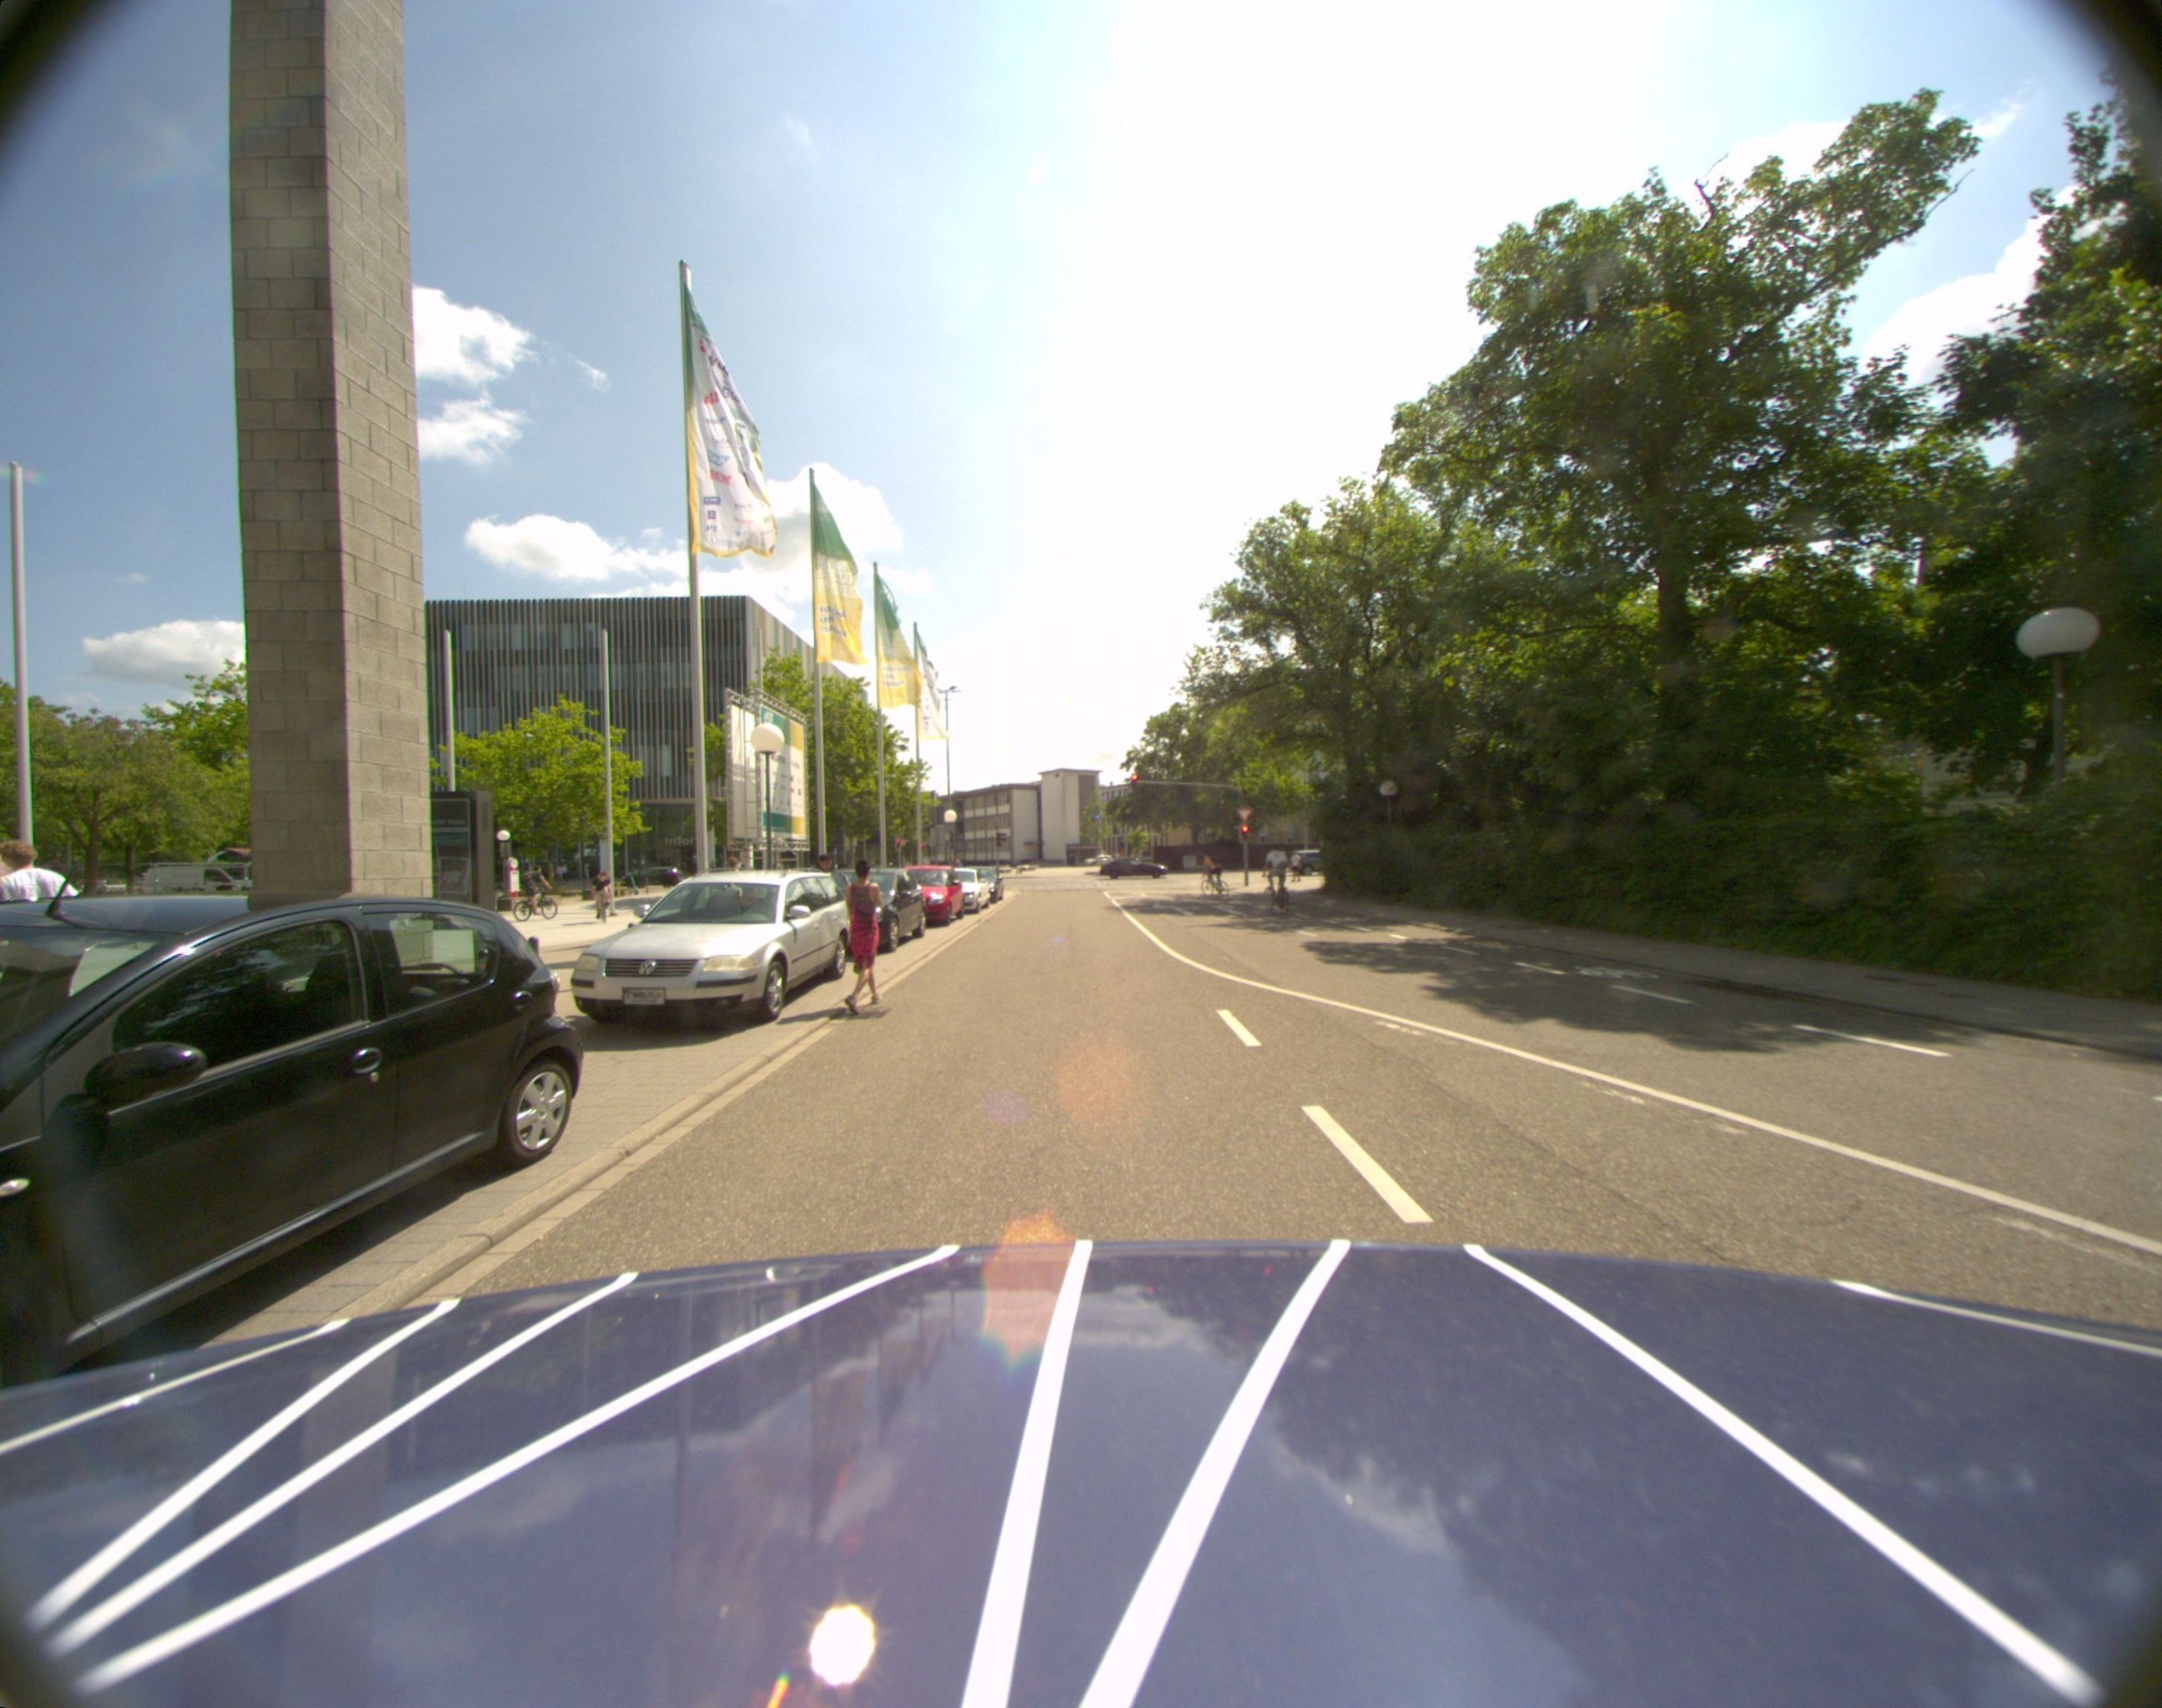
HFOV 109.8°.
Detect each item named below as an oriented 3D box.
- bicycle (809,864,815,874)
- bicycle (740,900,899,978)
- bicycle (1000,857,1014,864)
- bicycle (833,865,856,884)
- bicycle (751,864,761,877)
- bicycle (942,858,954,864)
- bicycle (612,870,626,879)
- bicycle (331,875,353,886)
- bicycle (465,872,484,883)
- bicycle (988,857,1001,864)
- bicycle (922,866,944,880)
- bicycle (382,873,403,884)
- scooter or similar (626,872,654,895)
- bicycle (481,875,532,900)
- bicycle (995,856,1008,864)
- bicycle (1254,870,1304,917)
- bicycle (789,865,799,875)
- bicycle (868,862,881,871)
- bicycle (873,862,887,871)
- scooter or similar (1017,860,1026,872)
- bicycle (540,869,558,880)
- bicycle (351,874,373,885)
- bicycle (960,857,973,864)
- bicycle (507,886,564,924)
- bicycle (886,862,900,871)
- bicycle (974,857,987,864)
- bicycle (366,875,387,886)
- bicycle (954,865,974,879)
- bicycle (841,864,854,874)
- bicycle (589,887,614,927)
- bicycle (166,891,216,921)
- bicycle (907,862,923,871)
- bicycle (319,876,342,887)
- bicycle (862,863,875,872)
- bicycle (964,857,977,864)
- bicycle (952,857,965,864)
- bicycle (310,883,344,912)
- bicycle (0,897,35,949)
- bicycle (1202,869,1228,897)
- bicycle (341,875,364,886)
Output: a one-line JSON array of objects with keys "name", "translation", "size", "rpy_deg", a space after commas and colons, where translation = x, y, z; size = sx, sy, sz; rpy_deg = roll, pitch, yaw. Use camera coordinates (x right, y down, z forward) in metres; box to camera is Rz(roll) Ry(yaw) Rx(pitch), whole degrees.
[{"name": "bicycle", "translation": [-28.021, 1.542, 79.188], "size": [0.529, 0.950, 1.770], "rpy_deg": [-2, 1, -21]}, {"name": "bicycle", "translation": [-4.037, 1.306, 11.893], "size": [2.153, 1.072, 0.904], "rpy_deg": [-1, 0, -1]}, {"name": "bicycle", "translation": [-10.037, 0.856, 102.978], "size": [1.776, 0.950, 0.528], "rpy_deg": [-1, 2, -27]}, {"name": "bicycle", "translation": [-13.915, 1.227, 44.691], "size": [0.817, 1.066, 1.891], "rpy_deg": [0, -3, -2]}, {"name": "bicycle", "translation": [-32.349, 1.636, 75.654], "size": [0.373, 1.180, 1.545], "rpy_deg": [0, 2, -2]}, {"name": "bicycle", "translation": [-20.529, 1.090, 117.521], "size": [1.776, 0.950, 0.527], "rpy_deg": [-1, 2, -29]}, {"name": "bicycle", "translation": [-46.429, 2.029, 76.291], "size": [0.373, 0.771, 1.546], "rpy_deg": [-1, 2, 3]}, {"name": "bicycle", "translation": [-73.184, 2.641, 75.233], "size": [0.433, 0.950, 1.784], "rpy_deg": [-1, 2, -1]}, {"name": "bicycle", "translation": [-60.164, 2.339, 75.381], "size": [0.373, 0.950, 1.547], "rpy_deg": [-1, 2, 14]}, {"name": "bicycle", "translation": [-12.053, 0.888, 105.960], "size": [1.776, 0.950, 0.527], "rpy_deg": [-1, 2, -29]}, {"name": "bicycle", "translation": [-12.895, 1.633, 66.262], "size": [1.673, 1.118, 0.693], "rpy_deg": [-2, 1, -29]}, {"name": "bicycle", "translation": [-68.314, 2.398, 75.354], "size": [0.433, 0.950, 1.784], "rpy_deg": [-1, 2, -1]}, {"name": "scooter or similar", "translation": [-22.589, 1.509, 38.900], "size": [1.192, 1.159, 0.353], "rpy_deg": [-1, 2, -1]}, {"name": "bicycle", "translation": [-28.725, 1.677, 37.989], "size": [2.028, 1.176, 0.800], "rpy_deg": [-1, 2, 10]}, {"name": "bicycle", "translation": [-10.892, 0.832, 104.099], "size": [1.776, 0.950, 0.527], "rpy_deg": [-1, 2, -29]}, {"name": "bicycle", "translation": [5.390, 1.045, 20.831], "size": [0.694, 1.164, 2.209], "rpy_deg": [-1, 1, -2]}, {"name": "bicycle", "translation": [-29.576, 1.625, 78.268], "size": [0.374, 0.950, 1.768], "rpy_deg": [-2, 2, -39]}, {"name": "bicycle", "translation": [-22.517, 1.308, 82.912], "size": [1.768, 0.950, 0.530], "rpy_deg": [0, 2, 43]}, {"name": "bicycle", "translation": [-22.061, 1.406, 83.384], "size": [1.768, 0.950, 0.530], "rpy_deg": [0, 2, 43]}, {"name": "scooter or similar", "translation": [-5.600, 1.105, 71.376], "size": [0.403, 1.060, 1.148], "rpy_deg": [-2, 1, -28]}, {"name": "bicycle", "translation": [-53.013, 2.033, 75.755], "size": [0.373, 0.950, 1.547], "rpy_deg": [-1, 2, 14]}, {"name": "bicycle", "translation": [-71.285, 2.520, 75.333], "size": [0.433, 0.950, 1.784], "rpy_deg": [-1, 2, -1]}, {"name": "bicycle", "translation": [-16.868, 0.991, 111.765], "size": [1.776, 0.950, 0.527], "rpy_deg": [-1, 2, -29]}, {"name": "bicycle", "translation": [-17.951, 1.661, 25.042], "size": [0.682, 1.131, 1.692], "rpy_deg": [-1, -1, -1]}, {"name": "bicycle", "translation": [-20.914, 1.364, 84.605], "size": [1.768, 0.950, 0.530], "rpy_deg": [0, 2, 37]}, {"name": "bicycle", "translation": [-14.422, 0.988, 108.724], "size": [1.776, 0.950, 0.527], "rpy_deg": [-1, 2, -29]}, {"name": "bicycle", "translation": [-69.765, 2.622, 75.236], "size": [0.433, 0.950, 1.784], "rpy_deg": [-1, 2, -1]}, {"name": "bicycle", "translation": [-10.421, 1.591, 67.631], "size": [1.673, 1.118, 0.694], "rpy_deg": [-2, 1, -26]}, {"name": "bicycle", "translation": [-25.057, 1.620, 81.373], "size": [0.530, 0.950, 1.768], "rpy_deg": [-6, 5, -44]}, {"name": "bicycle", "translation": [-14.547, 1.577, 23.022], "size": [0.609, 1.131, 1.584], "rpy_deg": [-1, -1, -33]}, {"name": "bicycle", "translation": [-31.842, 1.857, 27.212], "size": [0.605, 0.949, 1.763], "rpy_deg": [-2, 1, -31]}, {"name": "bicycle", "translation": [-16.835, 1.265, 77.004], "size": [1.768, 0.950, 0.530], "rpy_deg": [0, 2, 37]}, {"name": "bicycle", "translation": [-74.303, 2.703, 75.261], "size": [0.433, 0.950, 1.784], "rpy_deg": [-1, 2, -1]}, {"name": "bicycle", "translation": [-23.017, 1.496, 82.409], "size": [1.768, 0.950, 0.530], "rpy_deg": [0, 2, 43]}, {"name": "bicycle", "translation": [-16.070, 0.994, 110.726], "size": [1.776, 0.950, 0.527], "rpy_deg": [-1, 2, -29]}, {"name": "bicycle", "translation": [-18.462, 1.021, 114.400], "size": [1.776, 0.950, 0.527], "rpy_deg": [-1, 2, -29]}, {"name": "bicycle", "translation": [-32.740, 1.861, 32.997], "size": [0.605, 1.093, 1.763], "rpy_deg": [-2, 3, -31]}, {"name": "bicycle", "translation": [-24.695, 1.591, 17.156], "size": [0.605, 1.093, 1.763], "rpy_deg": [-3, 3, -32]}, {"name": "bicycle", "translation": [5.409, 1.155, 30.796], "size": [0.794, 0.983, 2.210], "rpy_deg": [-1, 1, 4]}, {"name": "bicycle", "translation": [-72.179, 2.635, 75.290], "size": [0.433, 0.950, 1.784], "rpy_deg": [-1, 2, -1]}]
